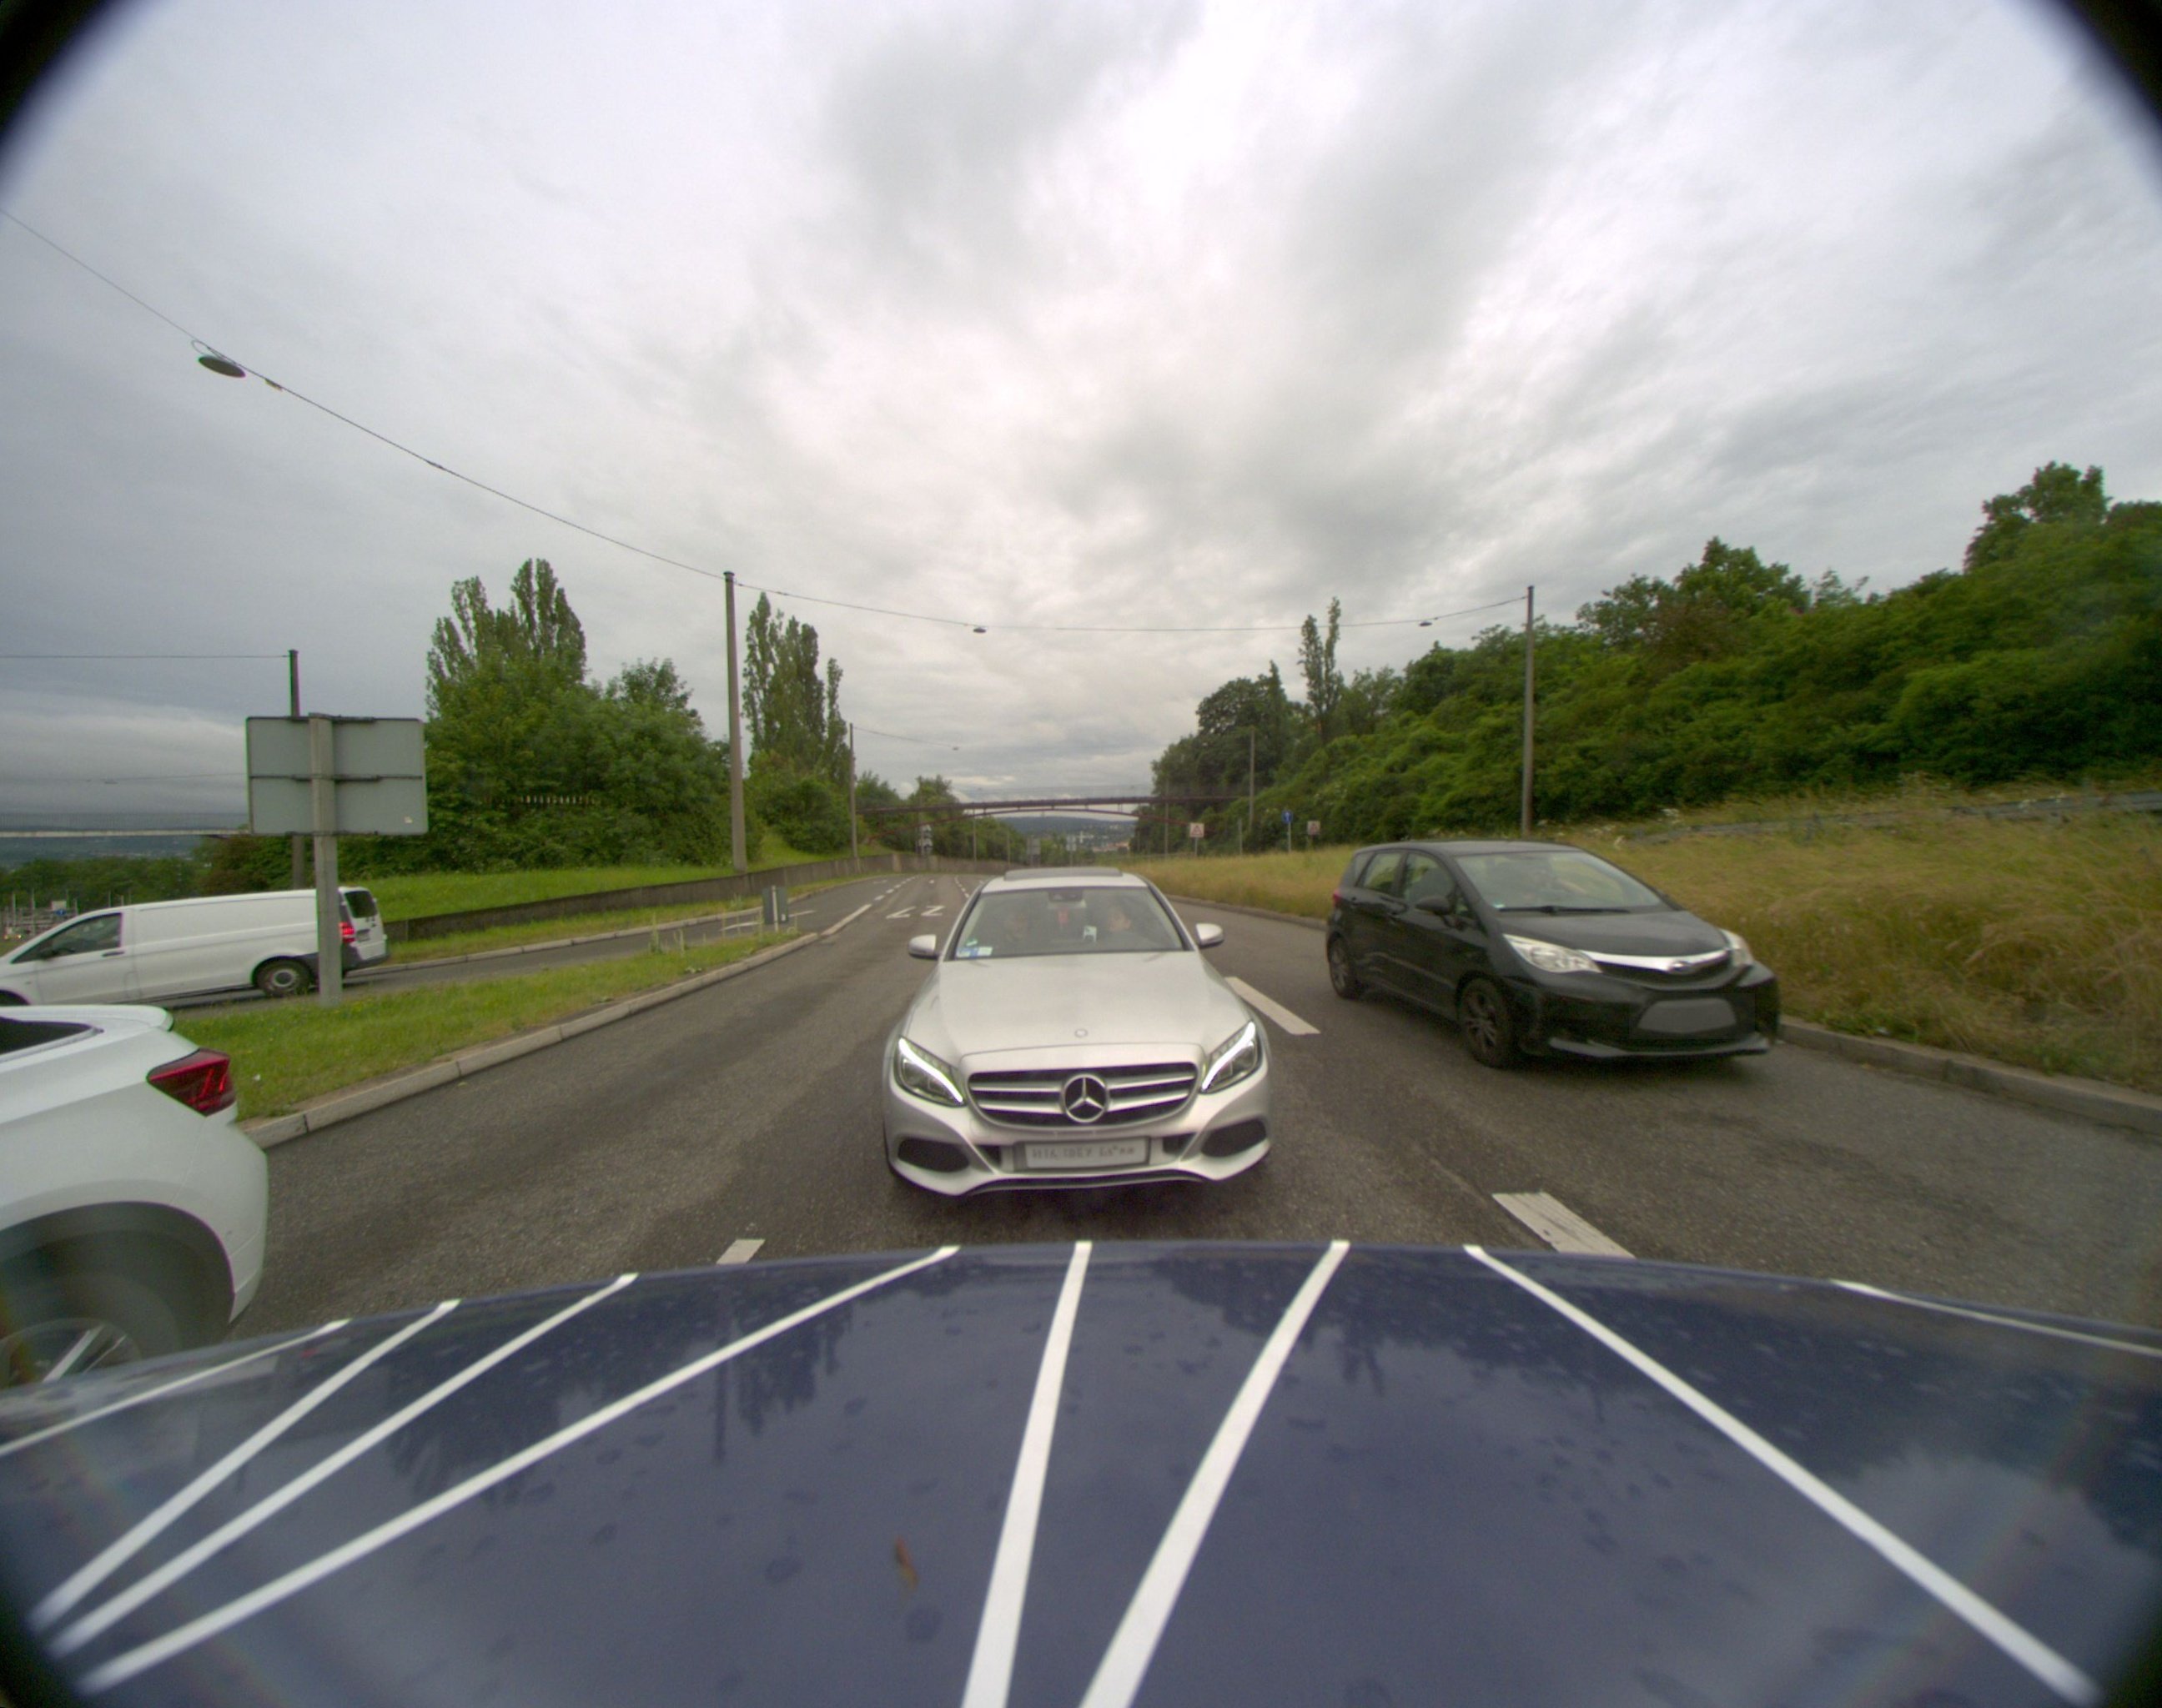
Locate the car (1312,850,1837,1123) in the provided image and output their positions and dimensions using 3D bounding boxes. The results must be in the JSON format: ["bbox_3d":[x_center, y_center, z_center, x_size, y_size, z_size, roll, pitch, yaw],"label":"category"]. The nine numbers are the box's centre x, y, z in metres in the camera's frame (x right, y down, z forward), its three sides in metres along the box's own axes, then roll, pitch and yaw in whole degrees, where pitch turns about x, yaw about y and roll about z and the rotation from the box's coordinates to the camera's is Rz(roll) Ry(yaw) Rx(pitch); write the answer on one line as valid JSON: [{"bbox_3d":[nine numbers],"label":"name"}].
[{"bbox_3d":[3.411,0.755,6.219,1.646,1.495,3.777,-2,0,-4],"label":"car"}]

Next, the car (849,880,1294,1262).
[{"bbox_3d":[-0.202,0.991,5.347,1.895,1.361,4.132,-2,1,-5],"label":"car"}]

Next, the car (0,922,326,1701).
[{"bbox_3d":[-3.056,1.037,0.110,1.718,1.544,4.227,-2,1,-3],"label":"car"}]

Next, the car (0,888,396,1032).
[{"bbox_3d":[-15.559,1.732,13.327,4.829,1.837,1.996,-4,0,-30],"label":"car"}]
